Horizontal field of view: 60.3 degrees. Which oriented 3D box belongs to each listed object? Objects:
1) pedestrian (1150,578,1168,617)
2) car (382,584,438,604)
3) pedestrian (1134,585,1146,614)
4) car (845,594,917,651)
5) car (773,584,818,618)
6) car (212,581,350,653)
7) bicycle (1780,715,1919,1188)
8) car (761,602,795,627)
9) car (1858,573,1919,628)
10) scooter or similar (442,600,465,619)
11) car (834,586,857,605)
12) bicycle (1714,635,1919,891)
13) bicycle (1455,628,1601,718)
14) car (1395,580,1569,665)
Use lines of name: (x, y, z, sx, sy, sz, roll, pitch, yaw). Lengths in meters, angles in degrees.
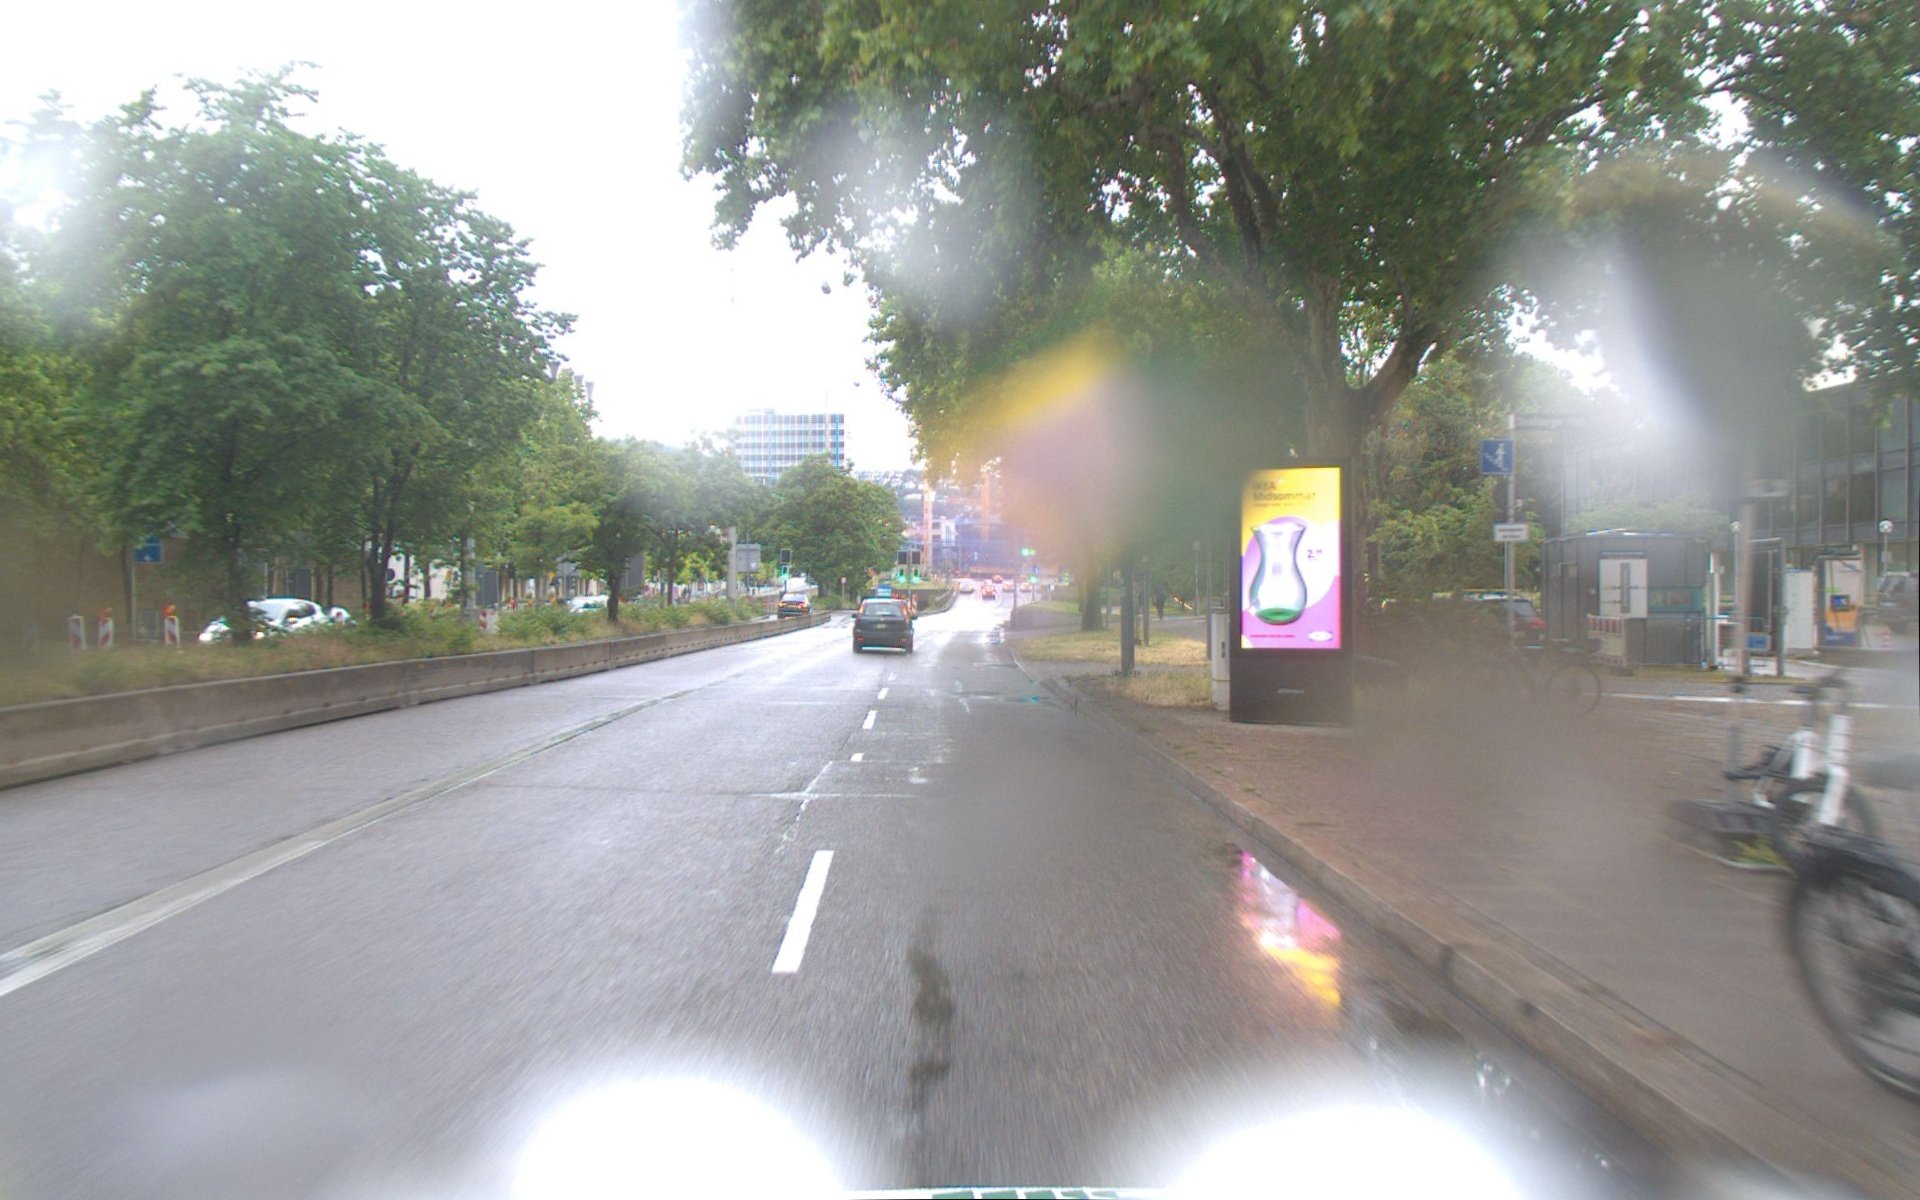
pedestrian: (8.966, -0.111, 74.628, 0.690, 1.748, 0.692, -2, 0, 1)
car: (-45.313, -0.485, 136.286, 3.906, 1.624, 1.999, 0, 0, -2)
pedestrian: (11.258, -0.007, 103.437, 0.582, 1.786, 0.725, -2, 0, -2)
car: (-2.215, 0.617, 45.392, 1.808, 1.441, 3.835, -2, -1, -5)
car: (-9.051, 0.020, 91.159, 1.952, 1.812, 4.001, -1, 0, 2)
car: (-15.215, 0.357, 37.251, 1.513, 1.534, 3.930, 0, 0, -1)
bicycle: (2.606, 0.838, 4.142, 0.655, 0.984, 1.638, 0, 0, 14)
car: (-11.471, 0.918, 104.457, 1.719, 1.477, 3.999, 2, 0, -1)
car: (33.383, 0.024, 55.770, 4.906, 1.794, 2.459, 0, 0, -3)
scooter or similar: (-37.161, 0.708, 121.280, 0.697, 1.375, 1.675, -2, -1, 21)
car: (-10.019, -0.413, 145.029, 1.954, 1.661, 3.997, 0, 0, -4)
bicycle: (4.767, 0.816, 9.017, 0.592, 1.218, 1.906, -2, -1, 6)
bicycle: (7.072, 0.898, 20.625, 1.606, 1.038, 0.575, 2, -1, 4)
car: (11.160, 0.420, 35.776, 1.953, 1.637, 5.235, 0, 1, -2)
